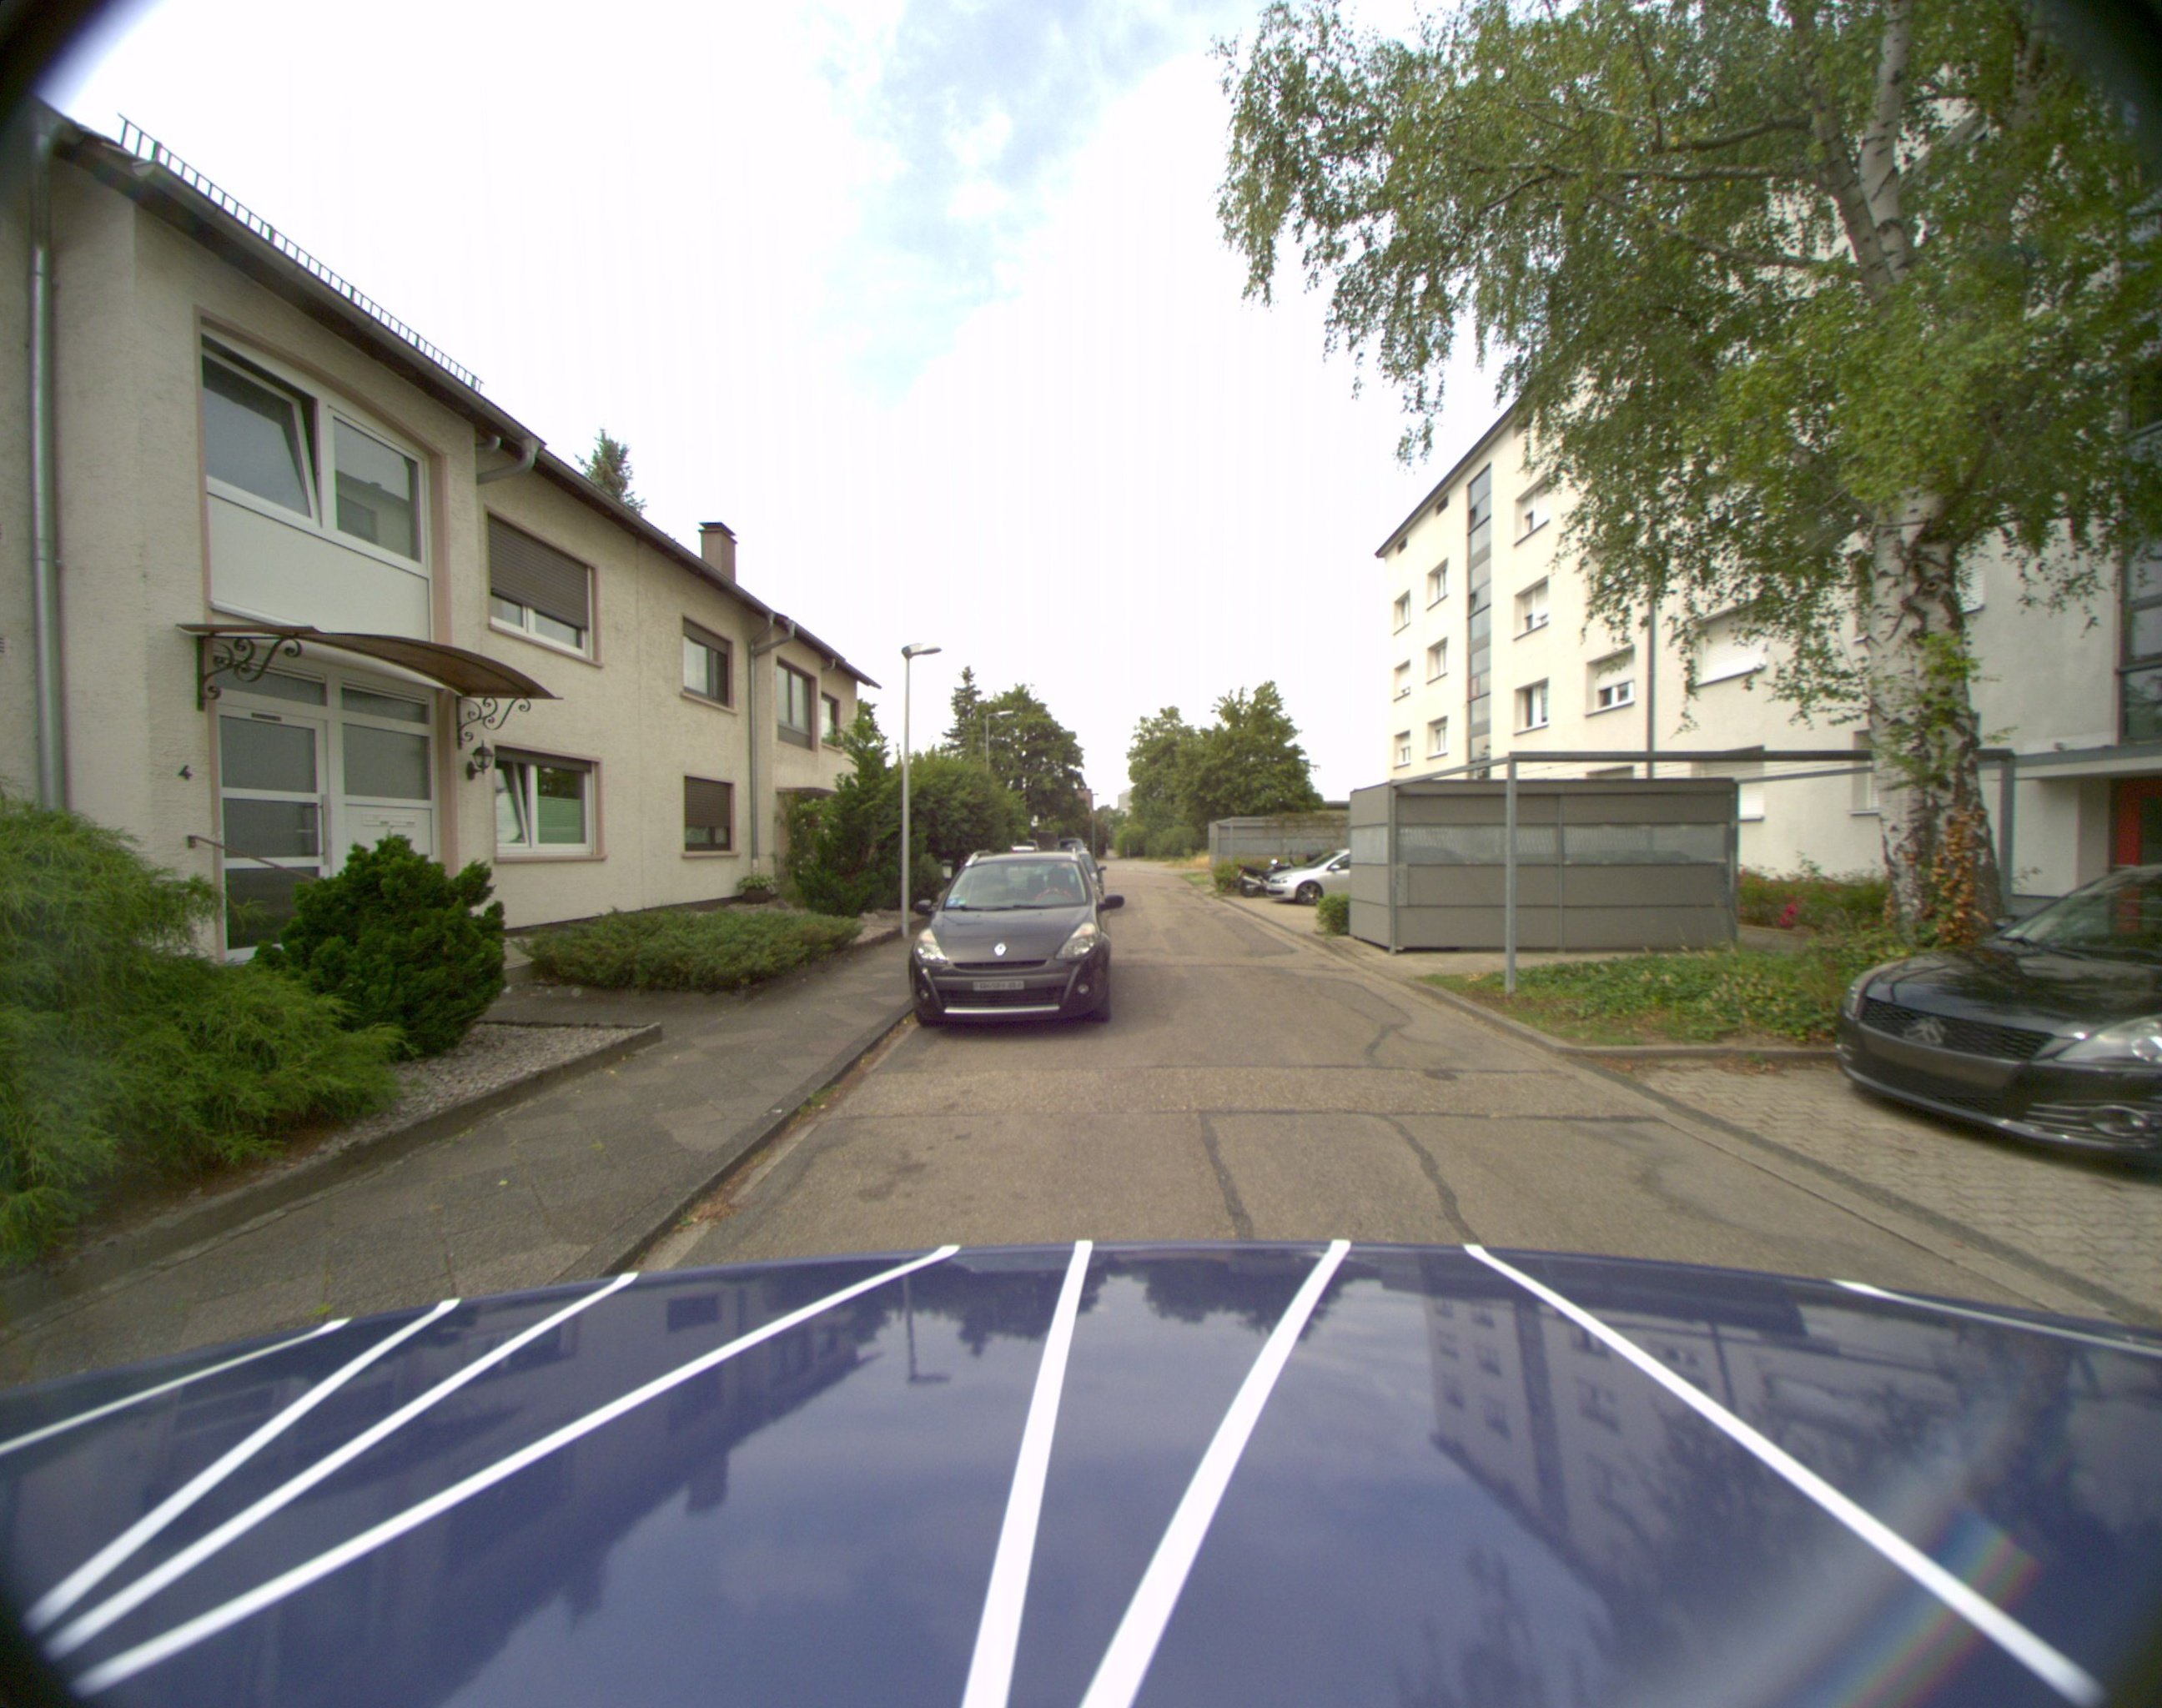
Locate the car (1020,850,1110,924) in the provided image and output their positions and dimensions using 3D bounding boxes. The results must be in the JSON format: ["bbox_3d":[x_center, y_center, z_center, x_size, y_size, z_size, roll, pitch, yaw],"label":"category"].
[{"bbox_3d":[-0.340,0.684,17.994,1.834,1.449,4.189,-1,1,0],"label":"car"}]

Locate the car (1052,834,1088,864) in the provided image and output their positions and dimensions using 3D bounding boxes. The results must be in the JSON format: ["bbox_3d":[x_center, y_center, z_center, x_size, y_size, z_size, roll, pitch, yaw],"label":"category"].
[{"bbox_3d":[-0.628,-0.334,43.446,1.926,1.576,3.999,-2,1,-1],"label":"car"}]

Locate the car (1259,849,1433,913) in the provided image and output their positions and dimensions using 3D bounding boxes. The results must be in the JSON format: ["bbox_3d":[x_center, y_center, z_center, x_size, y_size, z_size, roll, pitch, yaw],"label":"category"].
[{"bbox_3d":[6.955,0.670,20.298,3.996,1.477,1.903,2,1,3],"label":"car"}]

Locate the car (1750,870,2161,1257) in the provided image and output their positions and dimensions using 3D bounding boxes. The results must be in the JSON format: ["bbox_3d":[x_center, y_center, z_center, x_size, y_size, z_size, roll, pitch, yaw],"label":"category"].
[{"bbox_3d":[6.294,0.882,3.906,4.061,1.496,1.781,0,1,1],"label":"car"}]

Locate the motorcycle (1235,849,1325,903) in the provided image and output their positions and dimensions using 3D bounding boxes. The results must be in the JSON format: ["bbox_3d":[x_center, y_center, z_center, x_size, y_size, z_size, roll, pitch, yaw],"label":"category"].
[{"bbox_3d":[5.730,0.625,21.986,2.383,1.456,0.714,2,2,1],"label":"motorcycle"}]

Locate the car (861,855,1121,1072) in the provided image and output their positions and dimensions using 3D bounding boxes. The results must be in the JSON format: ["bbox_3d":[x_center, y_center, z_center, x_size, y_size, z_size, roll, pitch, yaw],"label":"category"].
[{"bbox_3d":[-0.651,0.794,7.564,1.834,1.449,4.189,-1,1,0],"label":"car"}]

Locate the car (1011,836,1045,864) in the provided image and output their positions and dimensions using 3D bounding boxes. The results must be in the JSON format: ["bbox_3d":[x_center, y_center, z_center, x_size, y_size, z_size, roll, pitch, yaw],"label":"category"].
[{"bbox_3d":[-3.031,-0.268,44.145,1.705,1.458,3.998,0,3,-1],"label":"car"}]
